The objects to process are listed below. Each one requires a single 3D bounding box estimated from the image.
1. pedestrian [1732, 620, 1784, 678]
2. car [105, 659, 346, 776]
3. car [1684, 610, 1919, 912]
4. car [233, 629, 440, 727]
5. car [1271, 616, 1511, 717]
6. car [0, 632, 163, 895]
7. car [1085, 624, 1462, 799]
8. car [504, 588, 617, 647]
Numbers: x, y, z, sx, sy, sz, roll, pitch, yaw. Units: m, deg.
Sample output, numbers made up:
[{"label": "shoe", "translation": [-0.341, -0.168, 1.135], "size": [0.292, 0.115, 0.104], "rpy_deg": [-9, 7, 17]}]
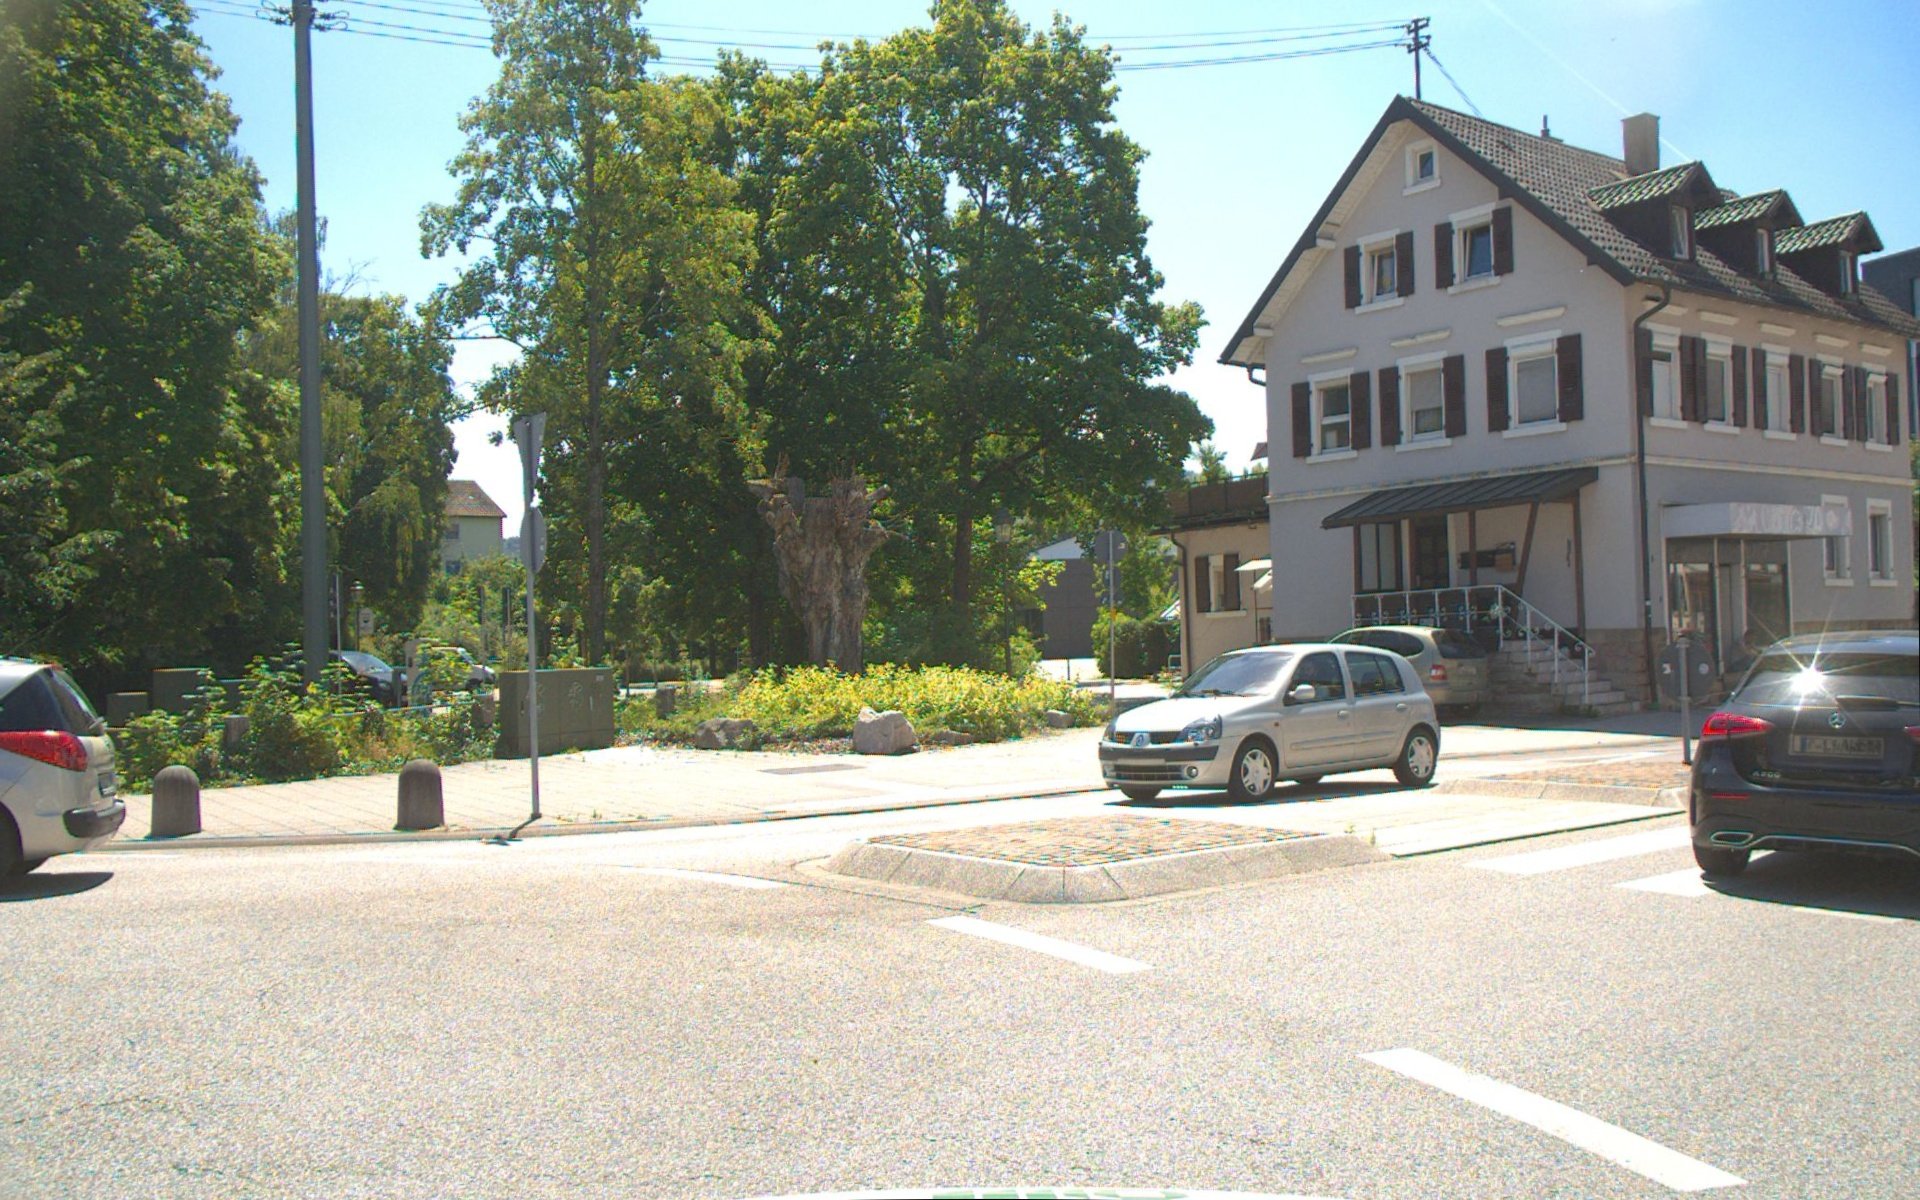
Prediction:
[{"label": "pedestrian", "translation": [15.152, 0.937, 31.409], "size": [0.694, 1.073, 0.662], "rpy_deg": [-1, -2, -42]}, {"label": "car", "translation": [-11.430, 1.789, 25.861], "size": [1.602, 1.580, 3.047], "rpy_deg": [-3, -1, 36]}, {"label": "car", "translation": [6.088, 0.834, 10.274], "size": [1.736, 1.483, 4.414], "rpy_deg": [1, 0, 40]}, {"label": "car", "translation": [-14.173, 1.759, 37.708], "size": [3.902, 2.049, 2.002], "rpy_deg": [-2, -1, 10]}, {"label": "car", "translation": [7.678, 1.183, 29.787], "size": [1.739, 1.669, 3.947], "rpy_deg": [-1, -1, -37]}, {"label": "car", "translation": [-7.276, 1.019, 10.131], "size": [4.133, 1.543, 1.735], "rpy_deg": [0, -3, -21]}, {"label": "car", "translation": [3.092, 1.029, 15.983], "size": [3.683, 1.437, 1.527], "rpy_deg": [-1, -4, -40]}, {"label": "car", "translation": [-14.774, 0.645, 61.235], "size": [3.920, 2.049, 1.992], "rpy_deg": [-2, -1, -15]}]
